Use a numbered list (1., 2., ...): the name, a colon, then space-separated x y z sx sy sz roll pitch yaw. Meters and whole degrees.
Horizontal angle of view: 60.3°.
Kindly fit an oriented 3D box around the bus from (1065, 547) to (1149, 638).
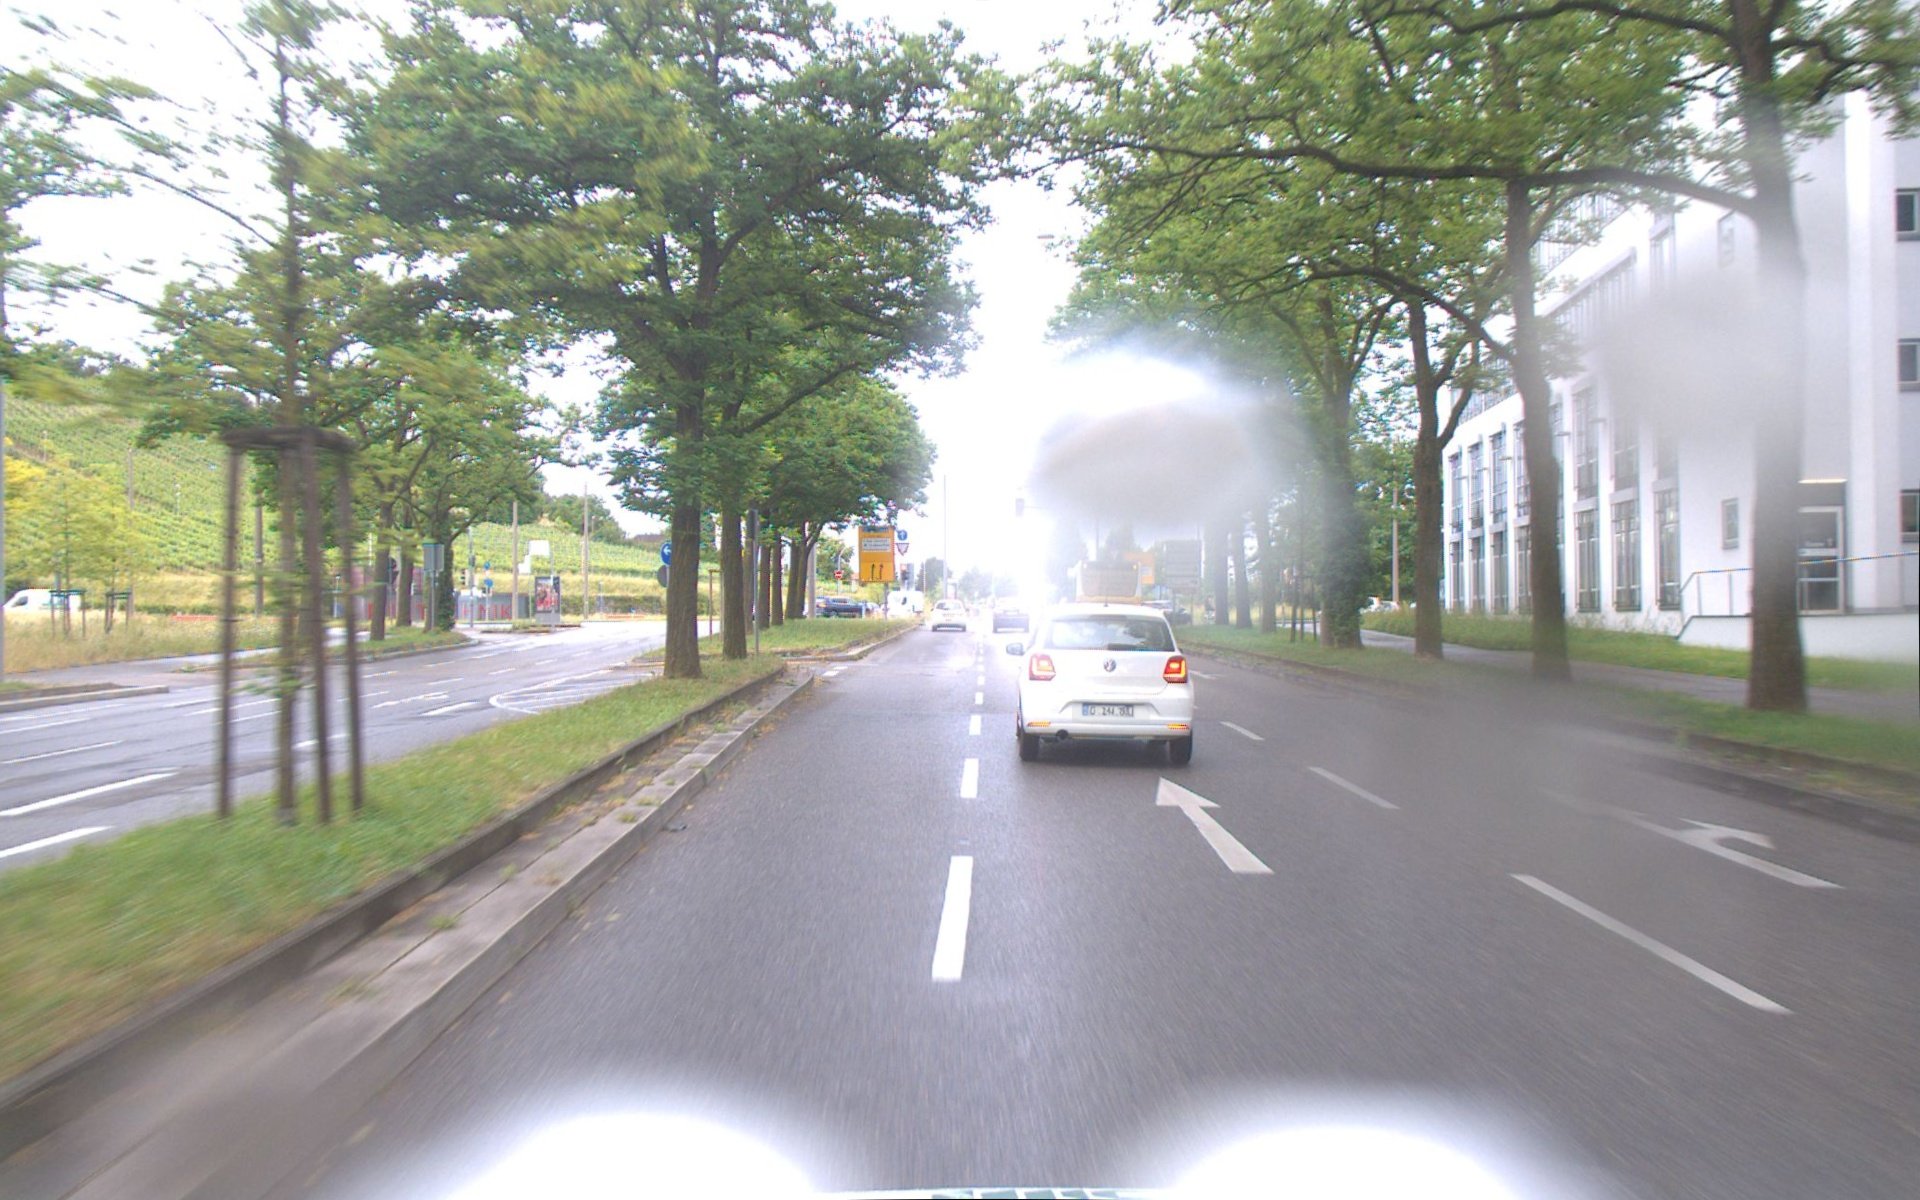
1. bus: 5.761 -0.297 66.247 2.769 3.324 10.002 0 0 2

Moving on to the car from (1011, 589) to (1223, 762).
1. car: 1.464 0.686 16.793 1.757 1.528 4.000 1 0 0

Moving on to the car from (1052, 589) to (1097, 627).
1. car: 5.504 0.425 79.934 1.952 1.747 4.001 -1 -1 2

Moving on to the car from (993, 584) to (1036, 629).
1. car: 2.616 0.306 78.894 1.952 2.049 4.001 -1 0 2

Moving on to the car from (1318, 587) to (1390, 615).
1. car: 23.728 0.066 99.516 3.906 1.563 2.000 -1 0 23

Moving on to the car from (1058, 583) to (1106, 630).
1. car: 5.509 0.312 74.937 1.952 2.049 4.001 -1 -1 2

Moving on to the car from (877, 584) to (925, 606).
1. car: -5.637 -0.478 158.803 1.956 2.049 5.701 -1 0 29

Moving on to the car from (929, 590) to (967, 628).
1. car: -0.548 0.411 80.761 1.757 1.772 4.000 -1 0 1

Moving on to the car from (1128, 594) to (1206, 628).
1. car: 9.826 0.507 78.382 3.797 1.542 1.673 0 0 -43
